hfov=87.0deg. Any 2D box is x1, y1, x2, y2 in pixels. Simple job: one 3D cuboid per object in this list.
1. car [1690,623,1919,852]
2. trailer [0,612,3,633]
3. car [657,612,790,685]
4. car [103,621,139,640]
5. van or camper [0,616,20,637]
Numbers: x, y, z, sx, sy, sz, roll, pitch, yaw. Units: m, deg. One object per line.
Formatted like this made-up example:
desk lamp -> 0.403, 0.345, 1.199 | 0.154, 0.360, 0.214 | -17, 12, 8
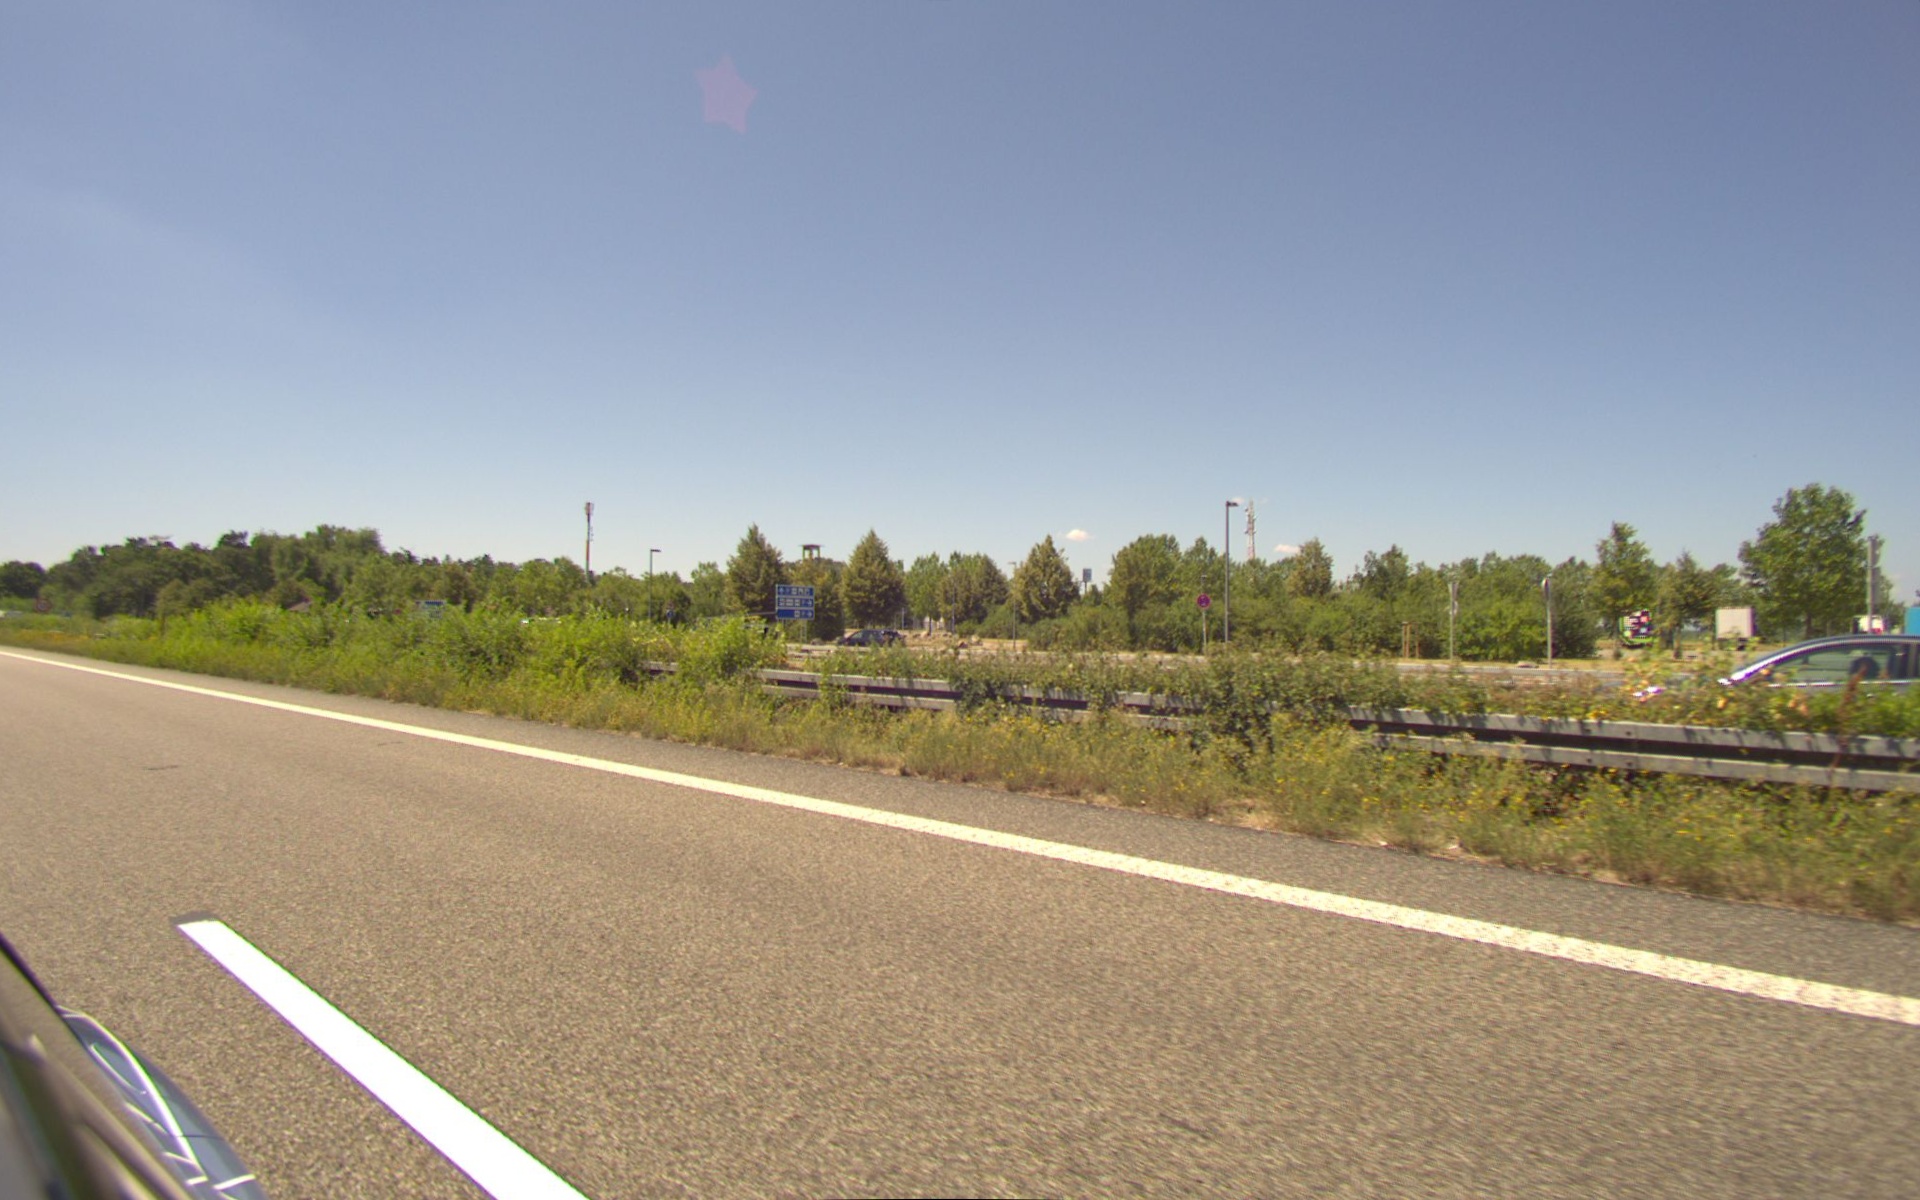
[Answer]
car -> 8.728, 1.135, 8.633 | 3.902, 1.818, 1.735 | -1, 0, 41
trailer -> -160.524, 3.744, 166.948 | 9.362, 3.542, 2.754 | -1, 0, 40
car -> -6.519, 1.264, 27.729 | 3.799, 1.818, 1.635 | -1, 0, 41
car -> -68.471, 2.488, 82.529 | 3.849, 1.435, 1.527 | -1, -3, 40
van or camper -> -121.496, 3.323, 128.505 | 6.363, 2.601, 2.393 | -1, 0, 41
